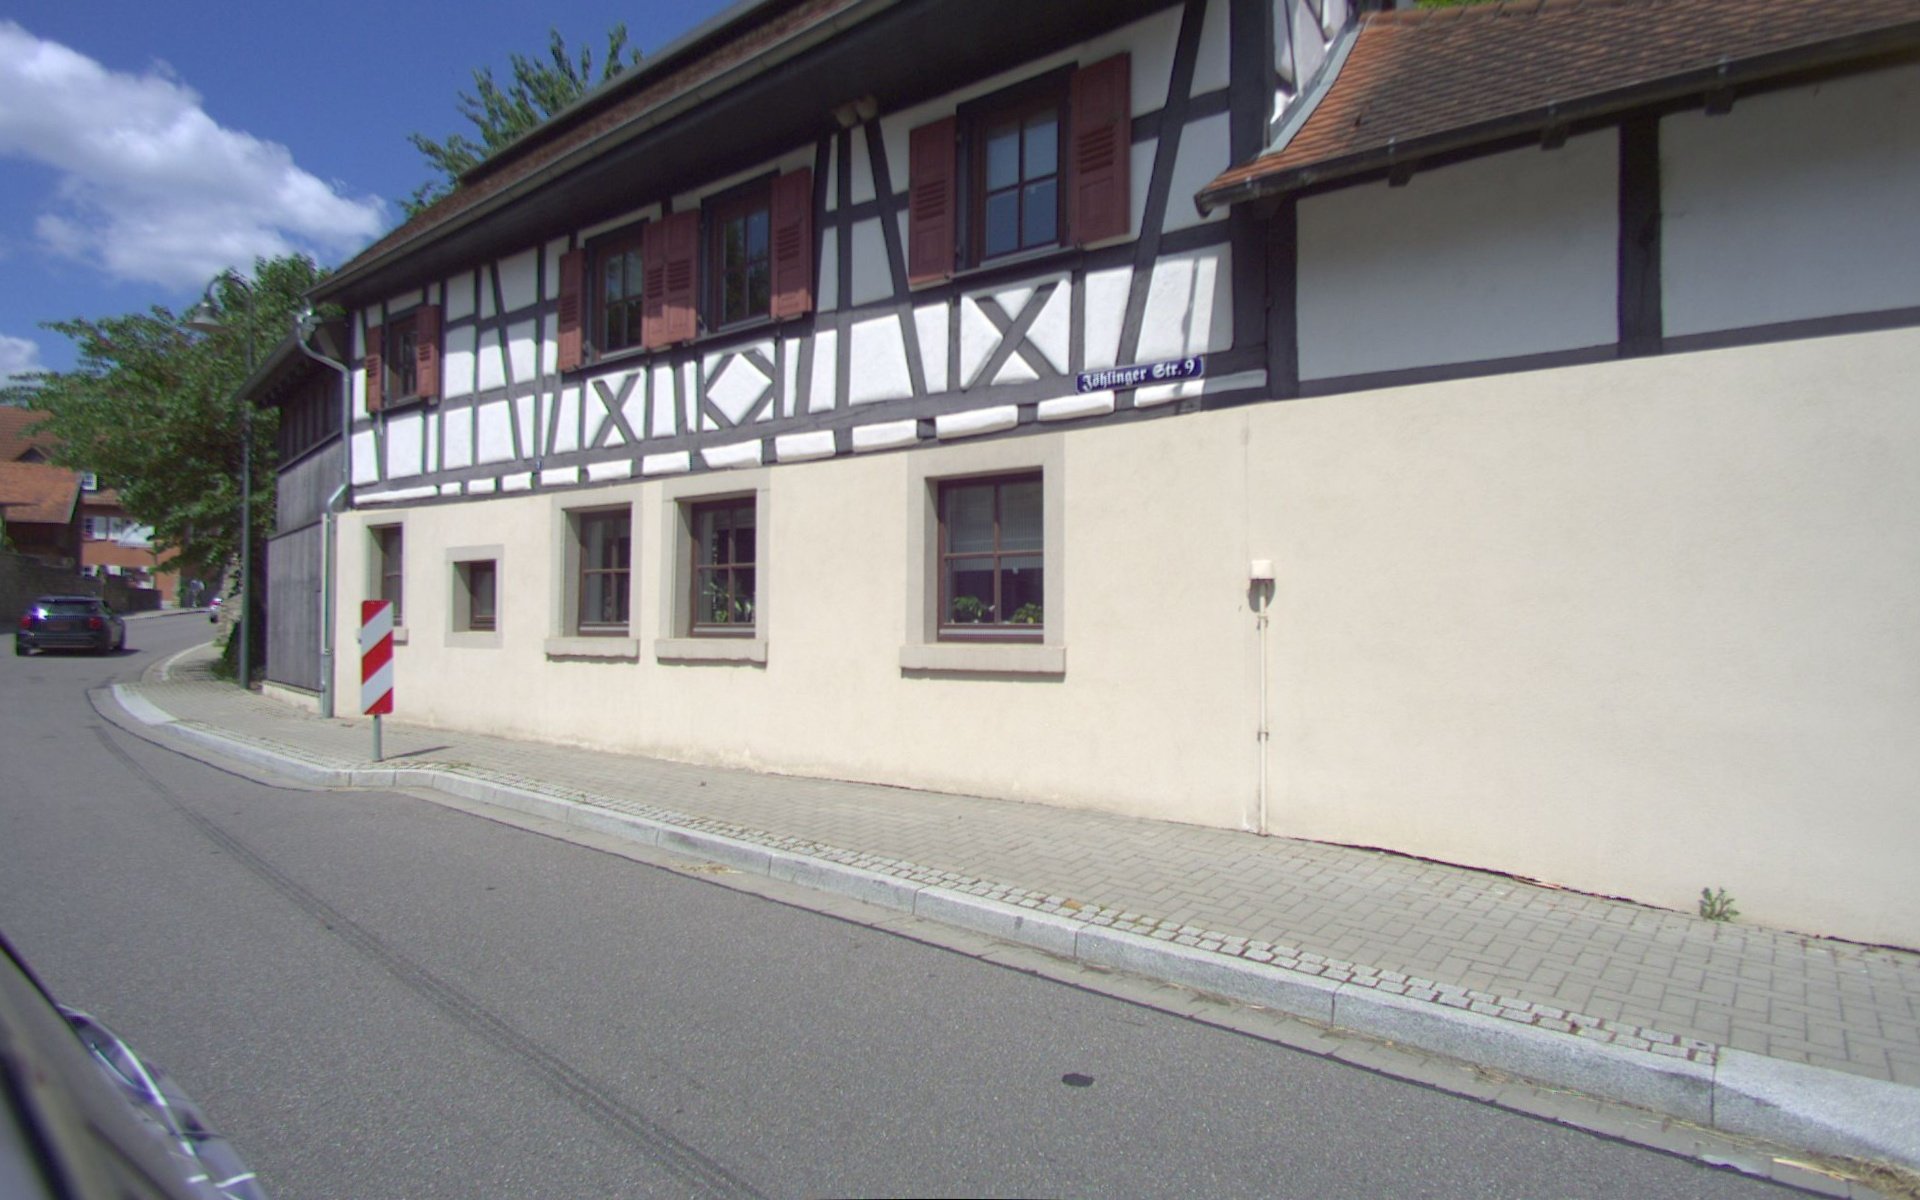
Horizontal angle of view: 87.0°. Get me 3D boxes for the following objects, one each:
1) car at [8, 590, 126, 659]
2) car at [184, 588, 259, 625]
[{"bbox_3d":[-22.207,0.570,25.318,1.676,1.476,4.446,3,0,-35],"label":"car"},{"bbox_3d":[-32.147,0.320,44.189,1.868,1.512,4.628,2,-2,-27],"label":"car"}]
